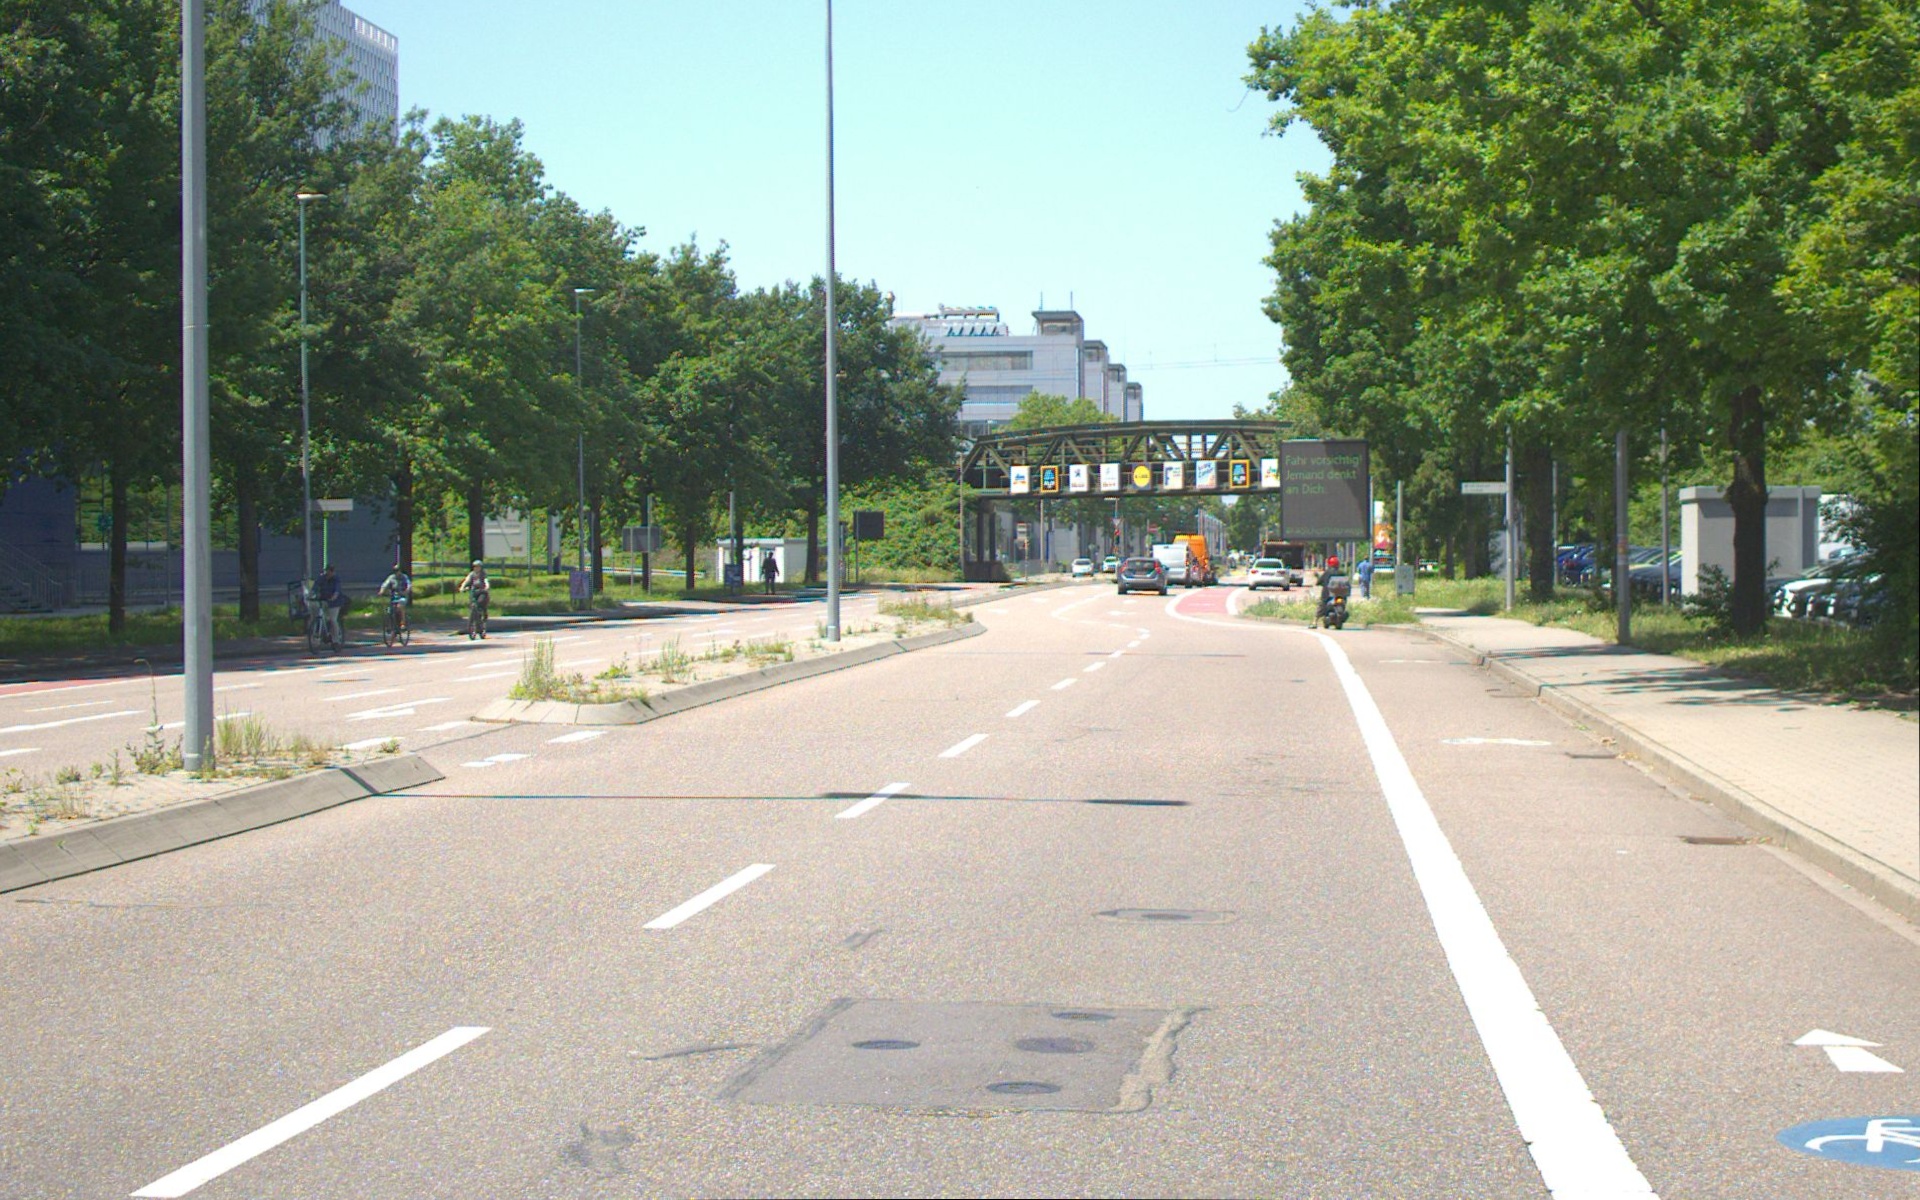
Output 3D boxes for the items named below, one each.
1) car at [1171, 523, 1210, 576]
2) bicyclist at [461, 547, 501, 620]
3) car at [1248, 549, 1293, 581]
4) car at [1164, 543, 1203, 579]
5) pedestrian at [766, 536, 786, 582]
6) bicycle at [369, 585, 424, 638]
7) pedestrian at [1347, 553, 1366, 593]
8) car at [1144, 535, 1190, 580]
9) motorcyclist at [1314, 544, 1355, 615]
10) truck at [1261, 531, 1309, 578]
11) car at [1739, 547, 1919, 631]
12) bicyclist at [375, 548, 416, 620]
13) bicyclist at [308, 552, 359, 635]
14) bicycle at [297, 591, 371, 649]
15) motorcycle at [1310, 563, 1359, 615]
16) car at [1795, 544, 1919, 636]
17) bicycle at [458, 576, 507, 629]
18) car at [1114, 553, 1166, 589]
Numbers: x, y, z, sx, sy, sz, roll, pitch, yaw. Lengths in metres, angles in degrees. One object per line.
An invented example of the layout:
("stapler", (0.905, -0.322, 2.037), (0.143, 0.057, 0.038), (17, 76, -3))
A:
("car", (12.487, -2.737, 185.974), (2.073, 2.845, 6.764), (0, 1, 4))
("bicyclist", (-10.926, -0.386, 78.386), (0.634, 1.623, 1.044), (-2, 1, 5))
("car", (13.920, -1.585, 154.388), (1.924, 1.415, 4.000), (1, 1, 4))
("car", (11.449, -1.998, 175.907), (1.895, 1.809, 4.000), (0, 1, 5))
("pedestrian", (-7.617, -1.698, 142.647), (0.744, 1.877, 0.577), (0, 1, 6))
("bicycle", (-12.268, 0.248, 74.872), (0.637, 1.130, 1.970), (0, 1, 8))
("pedestrian", (13.797, -0.939, 119.644), (0.624, 1.370, 0.564), (0, 1, 4))
("car", (9.520, -1.972, 158.136), (1.994, 2.007, 3.999), (1, 1, 4))
("motorcyclist", (8.150, -0.452, 74.830), (0.719, 1.524, 0.871), (1, 1, -4))
("truck", (17.322, -2.436, 183.510), (2.459, 2.402, 7.132), (2, 1, 5))
("car", (16.663, -0.172, 63.297), (4.222, 1.337, 1.917), (4, 1, 6))
("bicyclist", (-12.275, -0.353, 74.818), (0.637, 1.577, 0.884), (0, 1, 8))
("bicyclist", (-12.753, -0.132, 69.972), (0.745, 1.680, 0.952), (0, 1, 8))
("bicycle", (-12.741, 0.391, 70.058), (0.739, 1.121, 2.434), (0, 1, 8))
("motorcycle", (8.147, -0.248, 74.818), (0.716, 1.101, 1.830), (1, 1, -5))
("car", (16.333, -0.069, 57.850), (4.131, 1.376, 1.778), (5, 1, 5))
("bicycle", (-10.900, 0.041, 78.496), (0.629, 1.155, 2.117), (-2, 1, 5))
("car", (7.065, -1.160, 134.567), (1.901, 1.371, 4.231), (0, 1, 4))
